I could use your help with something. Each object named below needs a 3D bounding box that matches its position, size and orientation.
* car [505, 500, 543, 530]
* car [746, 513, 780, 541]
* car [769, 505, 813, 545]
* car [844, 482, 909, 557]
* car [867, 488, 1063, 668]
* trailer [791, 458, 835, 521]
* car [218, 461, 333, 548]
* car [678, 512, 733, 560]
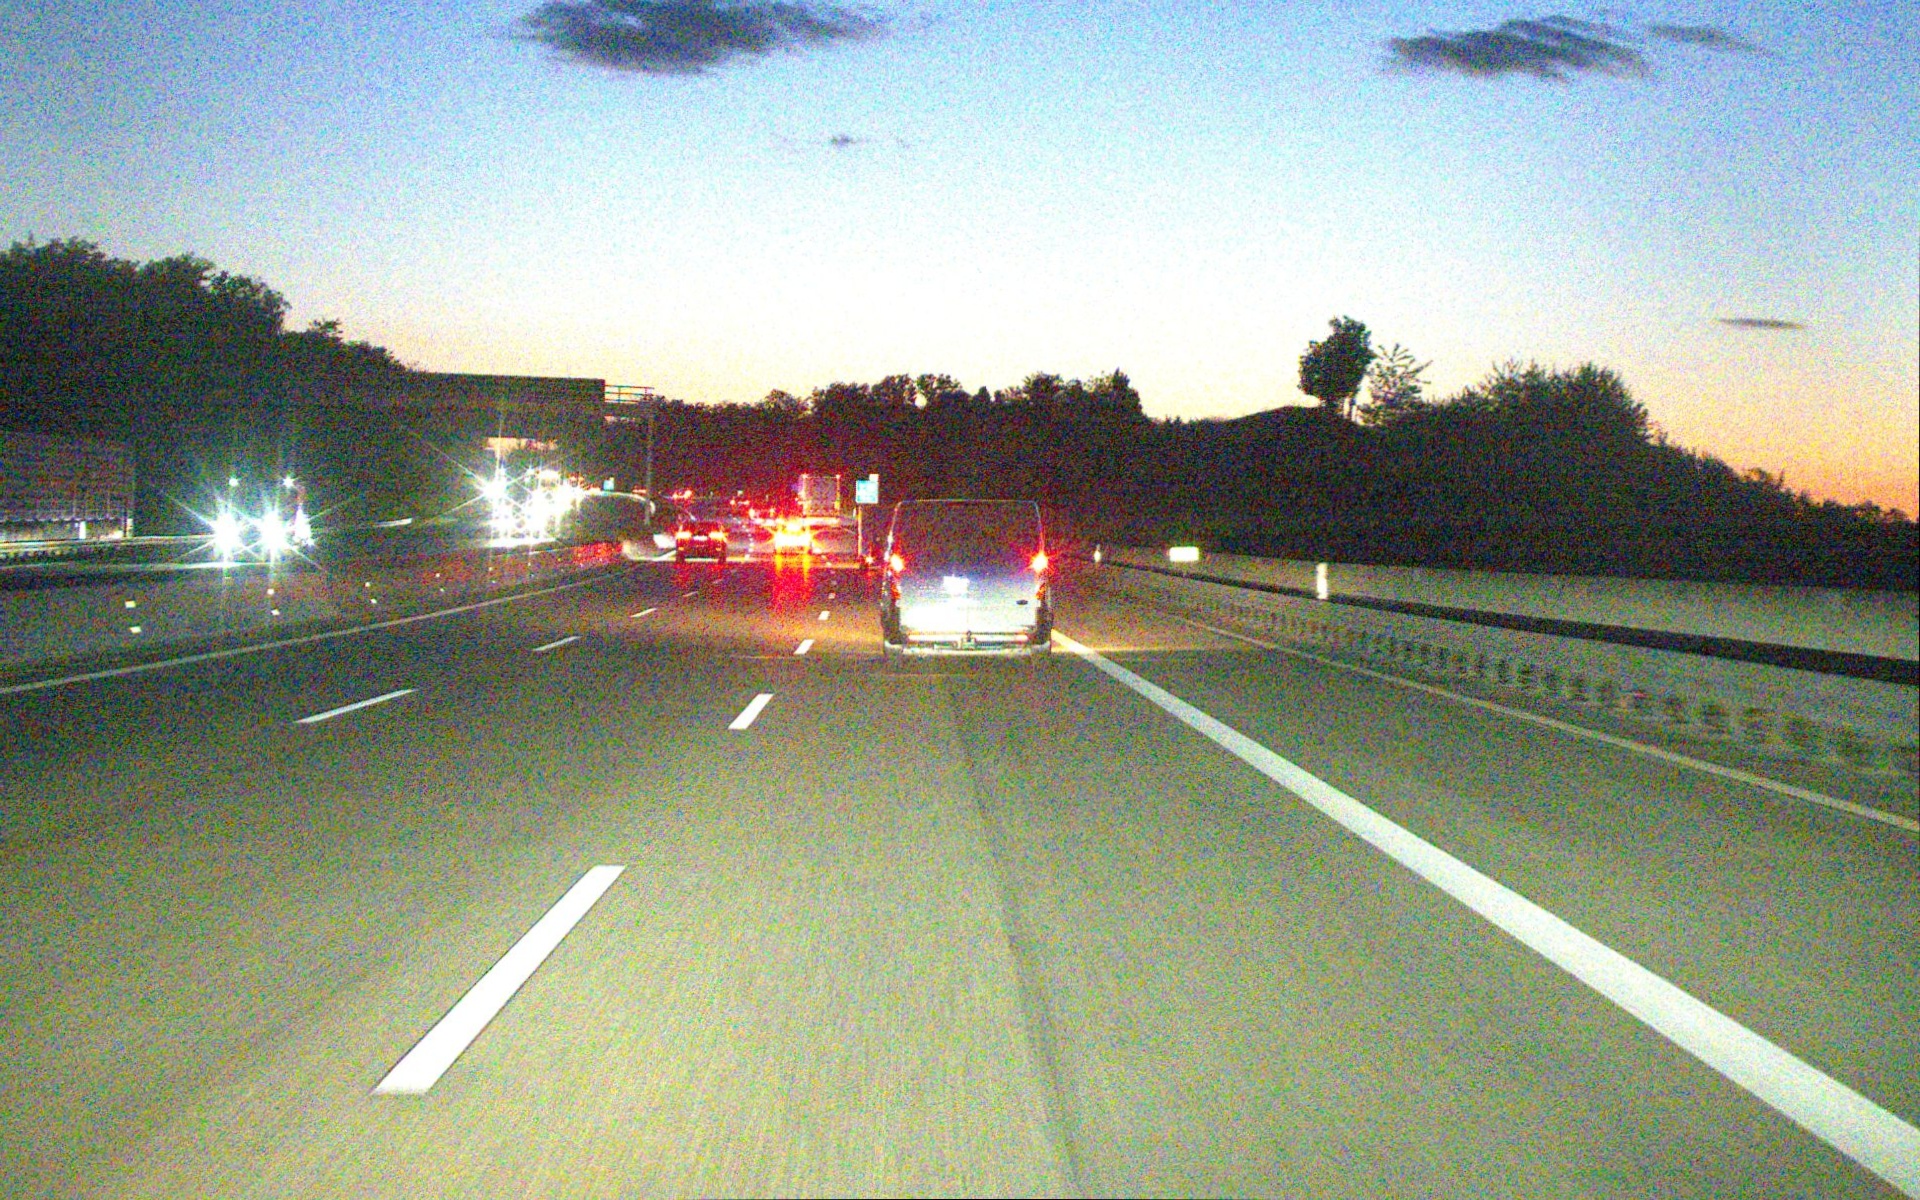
[{"bbox_3d":[-25.901,-5.050,204.305,1.822,1.688,4.674,1,0,-3],"label":"car"},{"bbox_3d":[-13.229,-4.874,231.042,1.993,1.788,4.000,1,0,0],"label":"car"},{"bbox_3d":[-8.050,-3.566,164.090,1.993,1.788,4.000,1,0,-2],"label":"car"},{"bbox_3d":[-3.064,-2.933,124.469,2.032,2.637,5.726,1,2,-4],"label":"car"},{"bbox_3d":[-0.017,-0.329,41.365,2.115,1.994,5.665,1,2,-2],"label":"car"},{"bbox_3d":[-11.117,-8.203,258.231,2.829,4.242,17.051,1,0,-4],"label":"trailer"},{"bbox_3d":[-25.325,-3.549,127.560,2.651,3.074,8.215,1,2,0],"label":"car"},{"bbox_3d":[-9.978,-2.513,134.837,1.993,1.809,4.000,1,0,-2],"label":"car"}]
